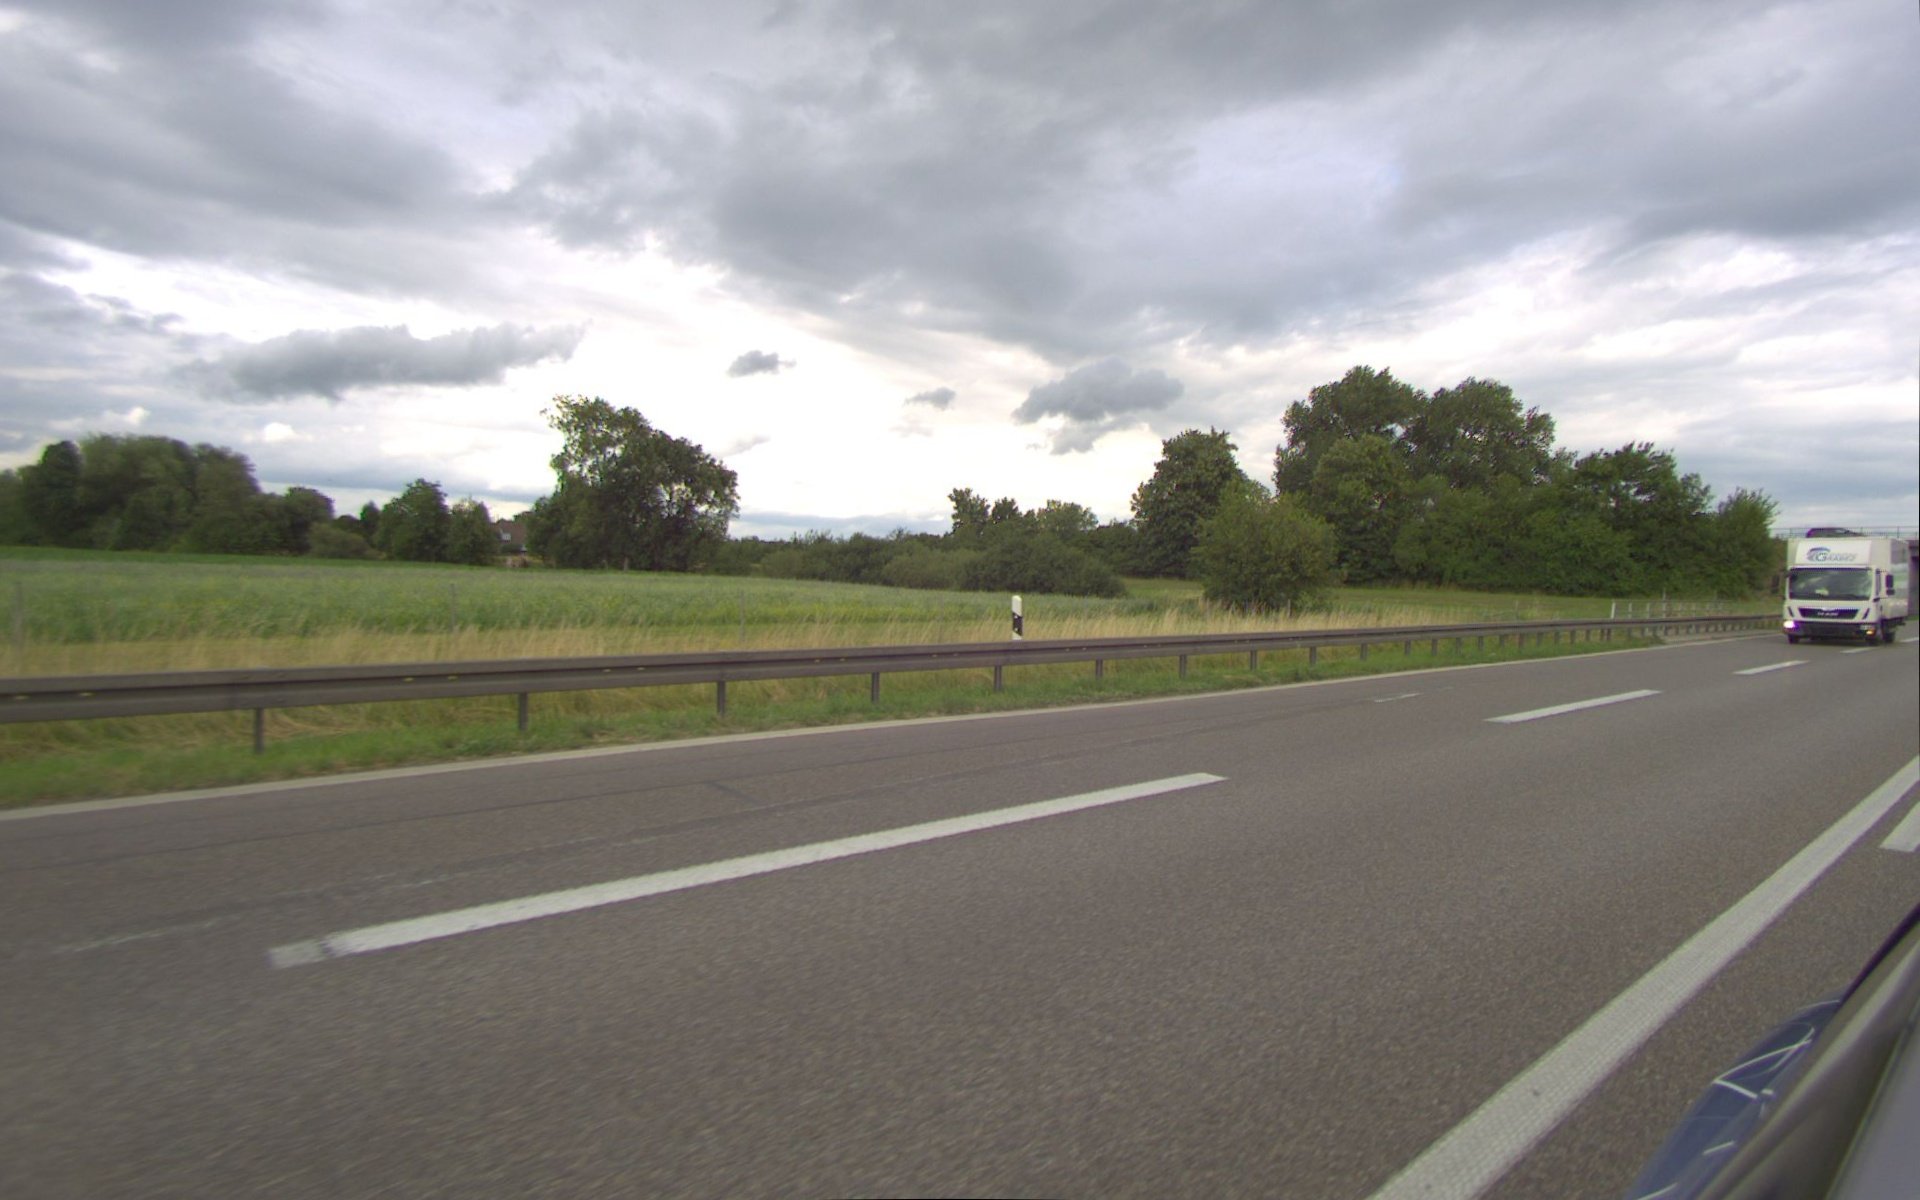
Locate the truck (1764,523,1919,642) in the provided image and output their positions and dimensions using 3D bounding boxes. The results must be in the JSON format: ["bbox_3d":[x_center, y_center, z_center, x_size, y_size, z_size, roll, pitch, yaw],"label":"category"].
[{"bbox_3d":[29.867,-0.553,33.837,8.735,3.514,3.110,0,0,-41],"label":"truck"}]
